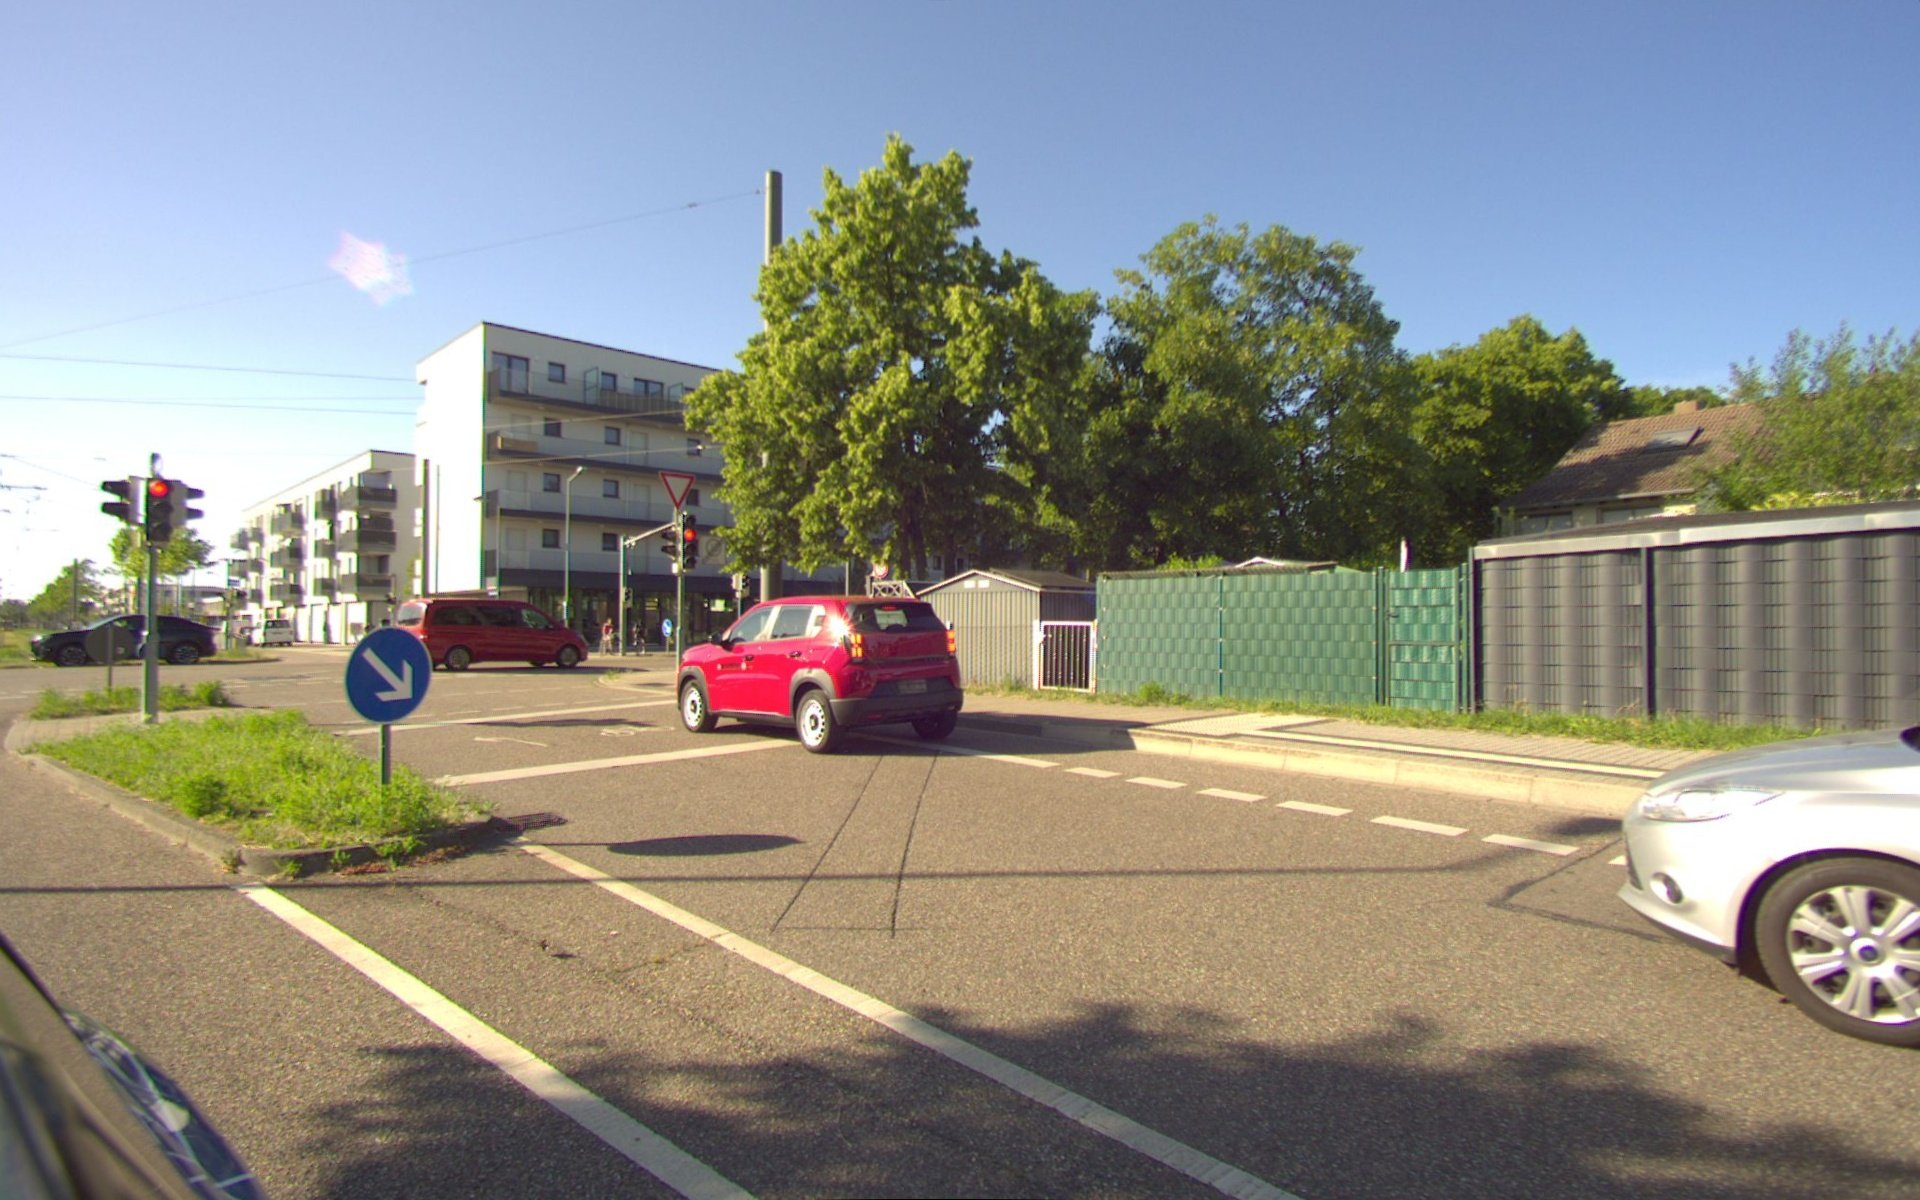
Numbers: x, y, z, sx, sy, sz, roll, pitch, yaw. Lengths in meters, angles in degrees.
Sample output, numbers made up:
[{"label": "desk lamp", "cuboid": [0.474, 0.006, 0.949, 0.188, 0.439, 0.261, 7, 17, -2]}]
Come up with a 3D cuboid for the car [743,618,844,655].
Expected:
[{"label": "car", "cuboid": [-7.376, 1.633, 44.996, 3.936, 1.583, 2.004, 1, -3, -39]}]

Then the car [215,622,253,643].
[{"label": "car", "cuboid": [-59.865, 2.695, 83.452, 1.970, 1.565, 4.004, 2, -1, -43]}]

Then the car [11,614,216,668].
[{"label": "car", "cuboid": [-25.732, 1.240, 30.966, 4.665, 1.546, 1.977, 2, -3, -40]}]

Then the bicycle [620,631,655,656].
[{"label": "bicycle", "cuboid": [-15.307, 2.070, 47.971, 1.639, 1.152, 0.736, -2, -3, 35]}]

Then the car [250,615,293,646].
[{"label": "car", "cuboid": [-48.751, 2.153, 71.636, 1.969, 2.029, 4.005, 2, -1, -42]}]

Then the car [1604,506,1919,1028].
[{"label": "car", "cuboid": [4.690, 0.500, 2.716, 2.181, 1.603, 4.542, 1, -1, -39]}]

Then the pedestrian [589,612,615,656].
[{"label": "pedestrian", "cuboid": [-16.723, 1.592, 47.282, 0.980, 2.029, 0.750, -2, -3, 42]}]

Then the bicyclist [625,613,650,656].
[{"label": "bicyclist", "cuboid": [-15.265, 1.633, 47.947, 0.793, 2.029, 0.802, -2, -3, 35]}]

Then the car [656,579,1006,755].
[{"label": "car", "cuboid": [-1.618, 0.667, 11.423, 1.916, 1.601, 4.186, 1, -2, -41]}]

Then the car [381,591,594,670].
[{"label": "car", "cuboid": [-13.157, 0.822, 28.483, 2.127, 1.984, 5.017, 1, -1, 39]}]
